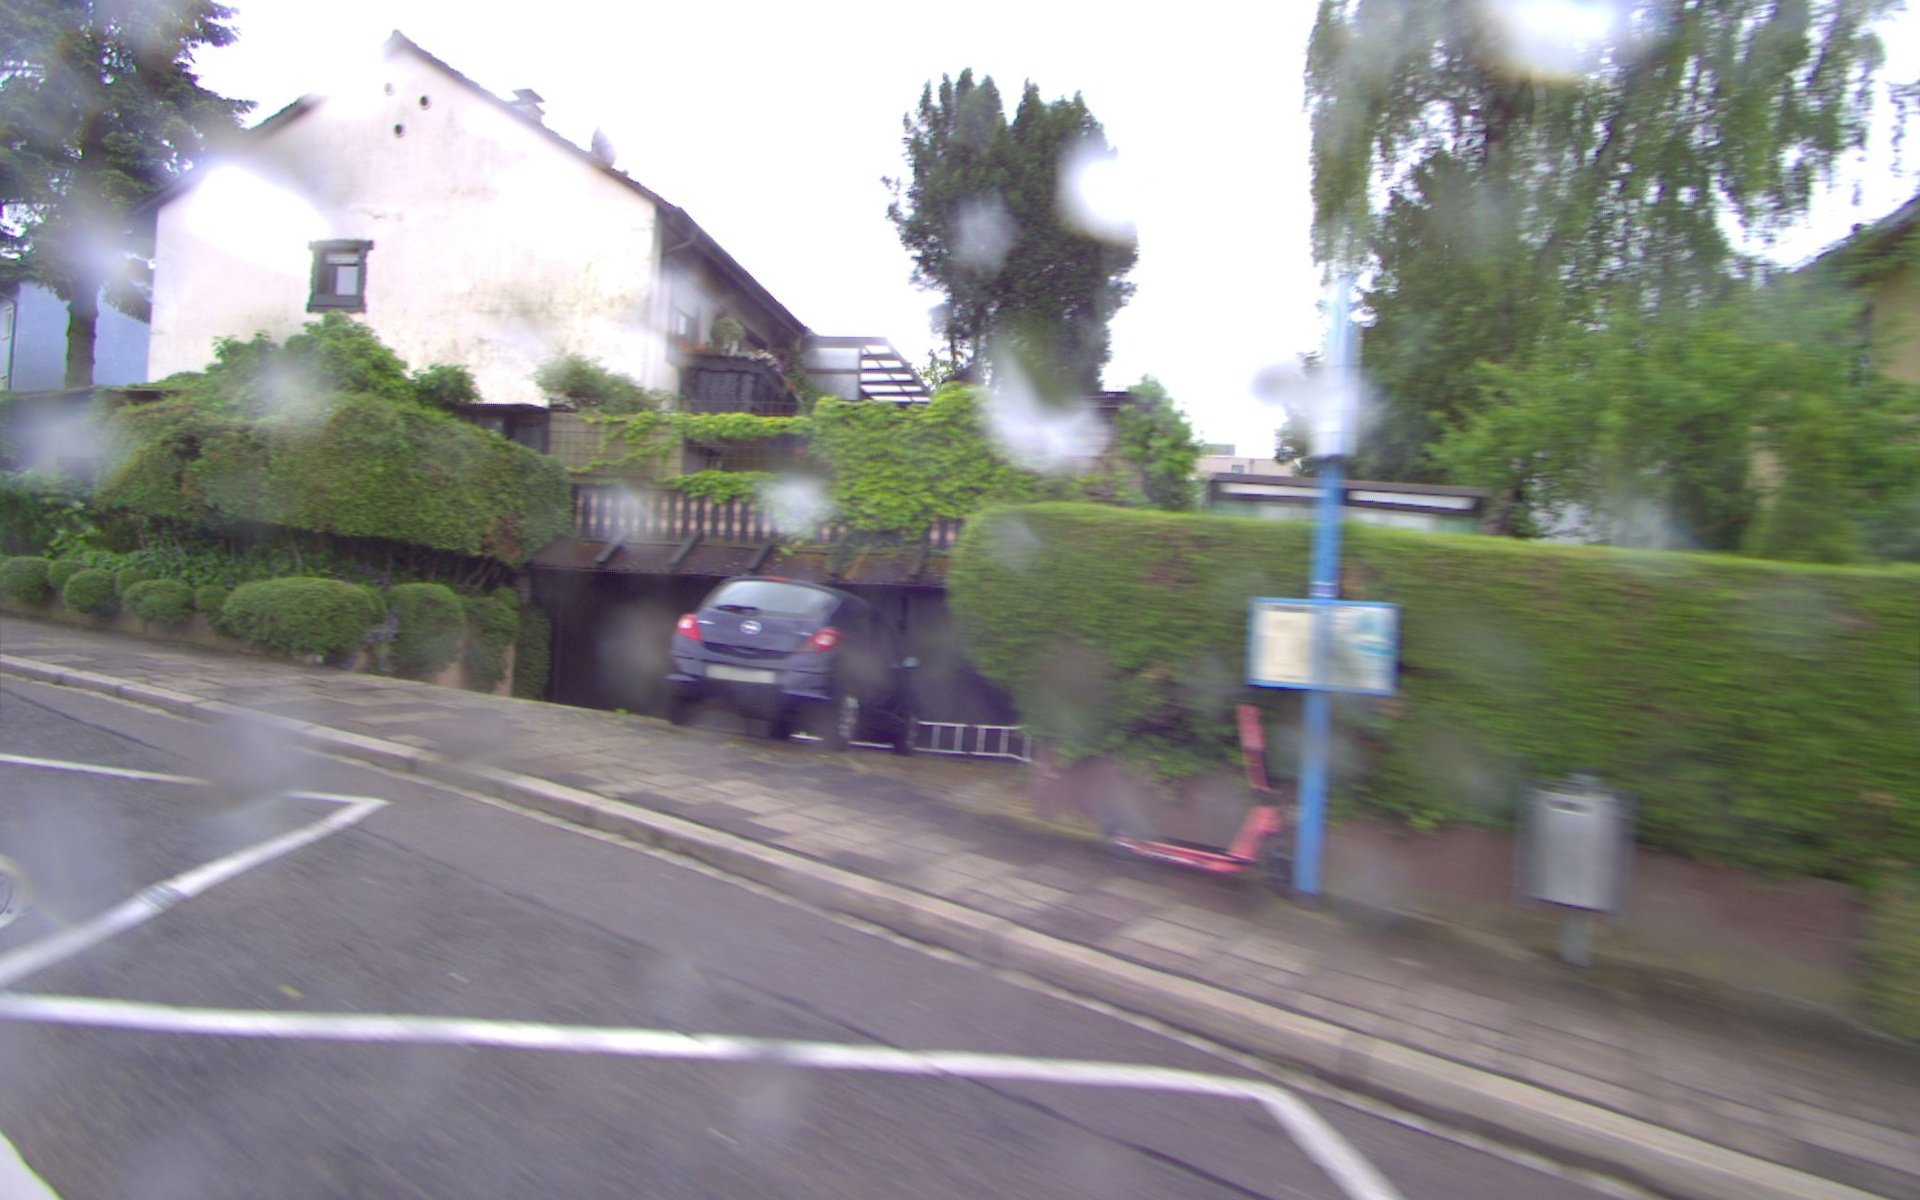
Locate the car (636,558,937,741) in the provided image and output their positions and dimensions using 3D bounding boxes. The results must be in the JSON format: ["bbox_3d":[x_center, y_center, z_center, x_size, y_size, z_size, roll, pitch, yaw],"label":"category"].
[{"bbox_3d":[-1.485,0.624,10.098,1.738,1.310,3.720,6,-6,10],"label":"car"}]
